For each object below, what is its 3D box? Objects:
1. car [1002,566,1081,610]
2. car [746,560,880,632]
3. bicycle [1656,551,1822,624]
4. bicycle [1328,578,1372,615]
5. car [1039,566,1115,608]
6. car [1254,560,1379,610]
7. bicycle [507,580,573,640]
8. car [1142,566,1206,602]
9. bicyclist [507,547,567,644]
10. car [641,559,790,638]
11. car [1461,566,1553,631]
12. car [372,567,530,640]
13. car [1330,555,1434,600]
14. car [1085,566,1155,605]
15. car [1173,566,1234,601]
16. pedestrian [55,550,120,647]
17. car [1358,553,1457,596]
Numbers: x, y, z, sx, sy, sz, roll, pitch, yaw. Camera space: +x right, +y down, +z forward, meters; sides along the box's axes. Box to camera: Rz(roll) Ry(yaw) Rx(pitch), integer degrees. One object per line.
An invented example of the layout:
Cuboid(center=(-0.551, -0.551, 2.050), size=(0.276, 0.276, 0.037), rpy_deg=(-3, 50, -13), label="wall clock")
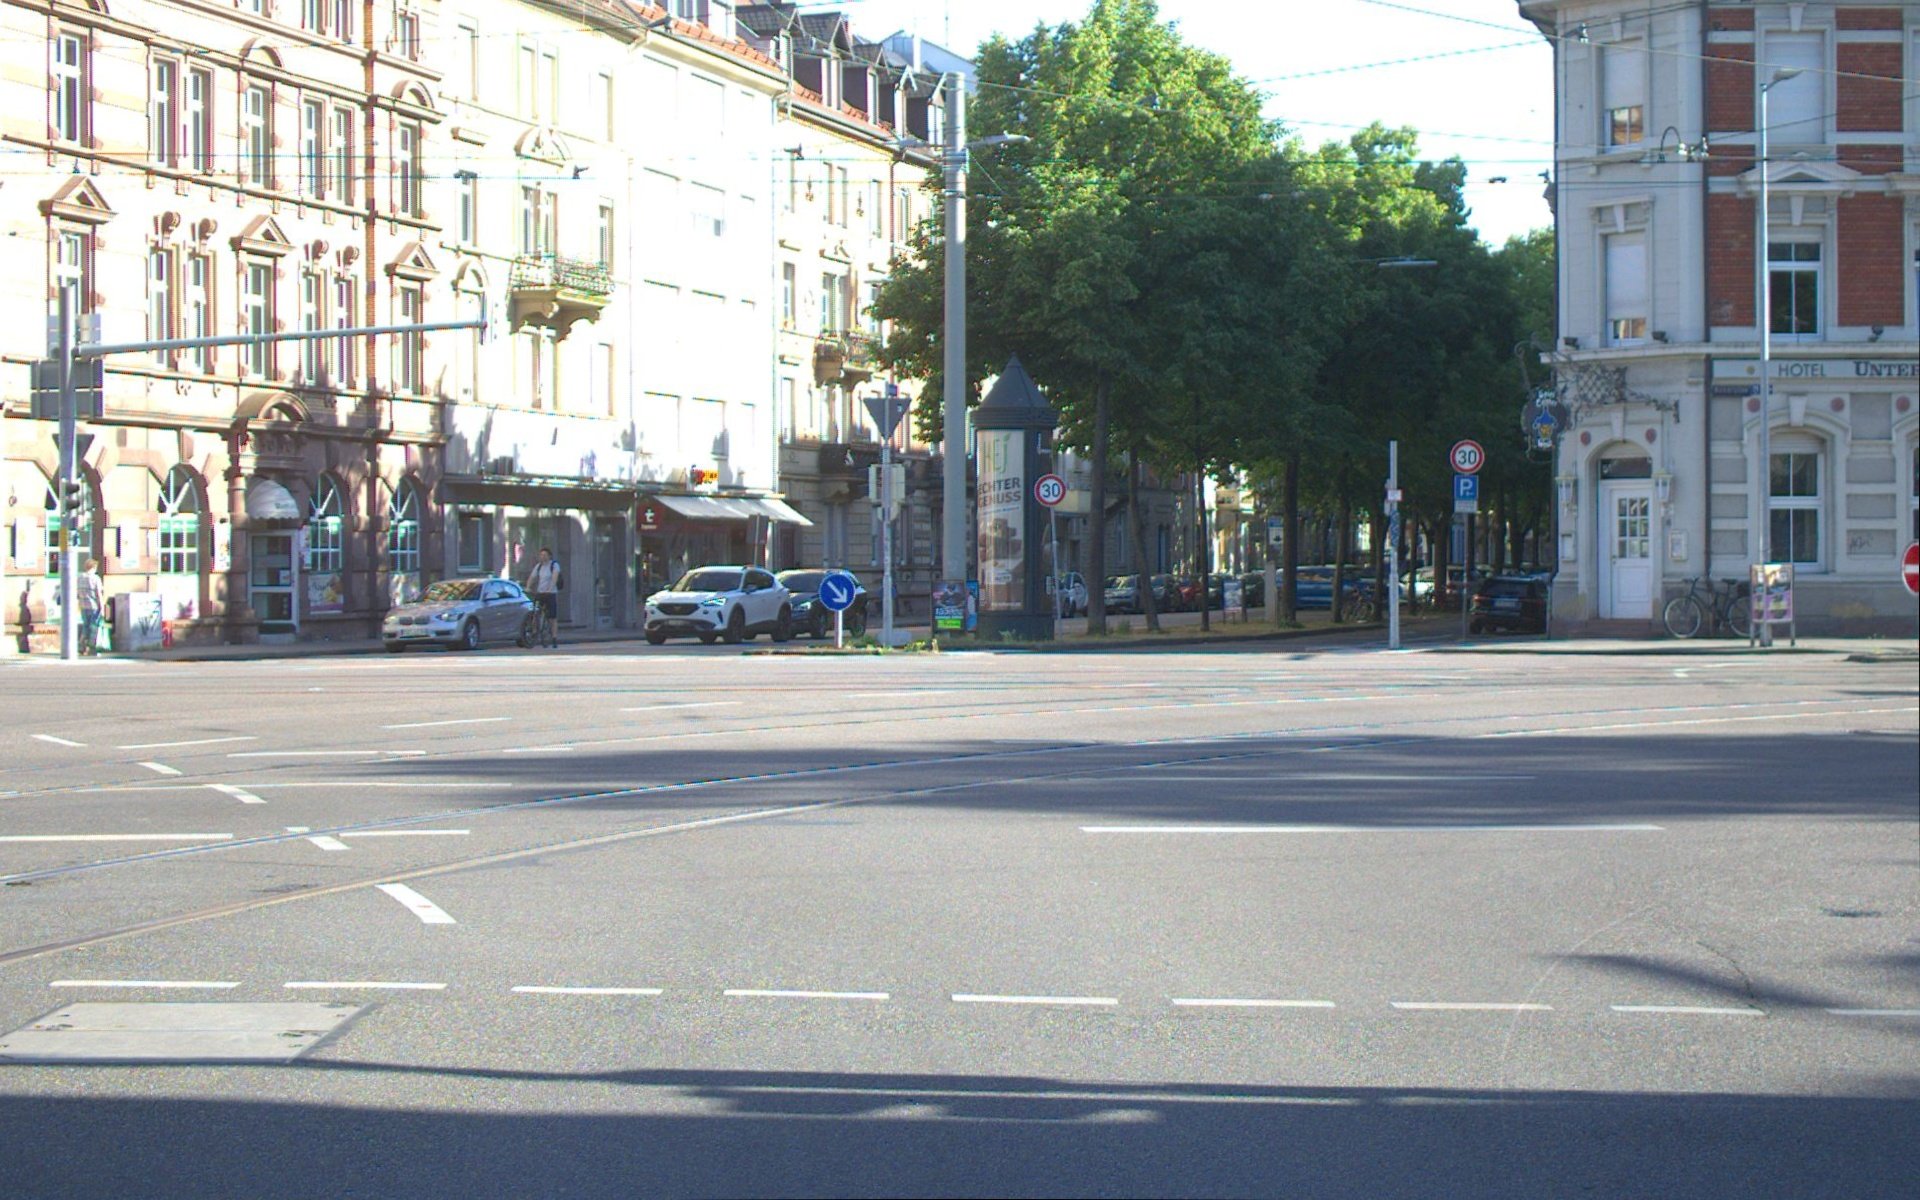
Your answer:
Cuboid(center=(2.644, -0.403, 111.322), size=(1.678, 1.349, 3.588), rpy_deg=(0, 1, 17), label="car")
Cuboid(center=(-3.113, -0.103, 73.615), size=(1.678, 1.478, 3.945), rpy_deg=(0, 1, 17), label="car")
Cuboid(center=(12.976, -0.209, 57.275), size=(2.554, 1.170, 0.819), rpy_deg=(1, 0, -3), label="bicycle")
Cuboid(center=(11.269, -0.106, 99.483), size=(0.636, 1.018, 1.847), rpy_deg=(1, 1, -14), label="bicycle")
Cuboid(center=(3.942, -0.446, 115.479), size=(1.678, 1.349, 3.588), rpy_deg=(0, 1, 17), label="car")
Cuboid(center=(12.000, -0.512, 115.677), size=(3.905, 1.642, 1.681), rpy_deg=(0, 1, 17), label="car")
Cuboid(center=(-7.972, 0.184, 65.265), size=(0.702, 1.114, 1.634), rpy_deg=(1, 1, 13), label="bicycle")
Cuboid(center=(8.150, -0.617, 130.747), size=(1.678, 1.349, 3.588), rpy_deg=(0, 1, 17), label="car")
Cuboid(center=(-8.008, -0.089, 65.138), size=(0.779, 1.797, 1.055), rpy_deg=(1, 0, 14), label="bicyclist")
Cuboid(center=(-4.755, -0.053, 67.314), size=(1.678, 1.478, 3.768), rpy_deg=(0, 1, 17), label="car")
Cuboid(center=(13.157, -0.059, 82.573), size=(1.678, 1.478, 3.945), rpy_deg=(0, 1, 17), label="car")
Cuboid(center=(-9.866, 0.055, 66.910), size=(1.678, 1.349, 3.588), rpy_deg=(0, 1, 17), label="car")
Cuboid(center=(15.722, -0.850, 128.032), size=(3.582, 1.642, 1.681), rpy_deg=(0, 1, 17), label="car")
Cuboid(center=(5.713, -0.522, 122.440), size=(1.678, 1.349, 3.588), rpy_deg=(0, 1, 17), label="car")
Cuboid(center=(9.622, -0.657, 135.777), size=(1.678, 1.349, 3.588), rpy_deg=(0, 1, 17), label="car")
Cuboid(center=(-15.209, -0.028, 59.932), size=(0.776, 1.664, 0.830), rpy_deg=(1, 0, 15), label="pedestrian")
Cuboid(center=(17.397, -1.004, 133.506), size=(3.582, 1.642, 1.681), rpy_deg=(0, 1, 17), label="car")
